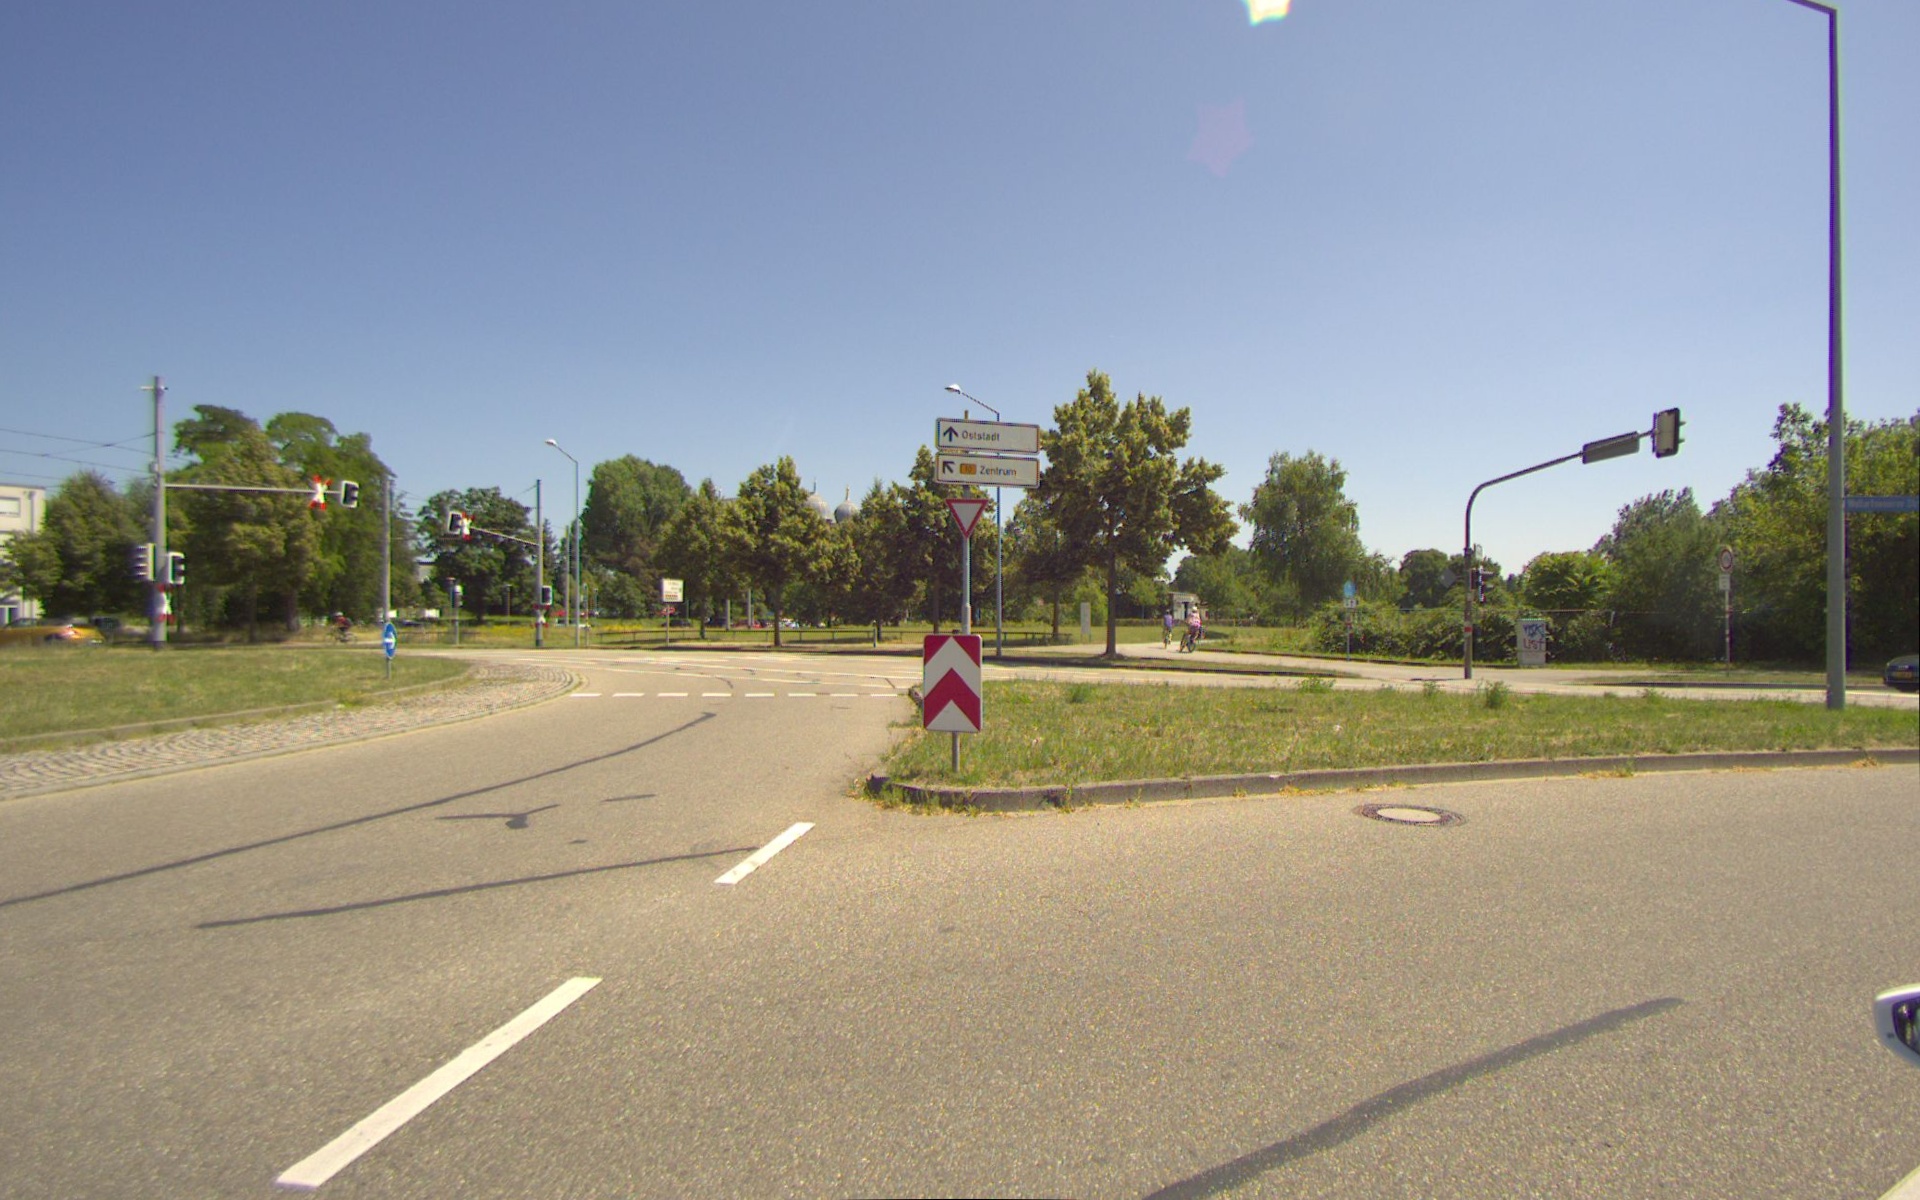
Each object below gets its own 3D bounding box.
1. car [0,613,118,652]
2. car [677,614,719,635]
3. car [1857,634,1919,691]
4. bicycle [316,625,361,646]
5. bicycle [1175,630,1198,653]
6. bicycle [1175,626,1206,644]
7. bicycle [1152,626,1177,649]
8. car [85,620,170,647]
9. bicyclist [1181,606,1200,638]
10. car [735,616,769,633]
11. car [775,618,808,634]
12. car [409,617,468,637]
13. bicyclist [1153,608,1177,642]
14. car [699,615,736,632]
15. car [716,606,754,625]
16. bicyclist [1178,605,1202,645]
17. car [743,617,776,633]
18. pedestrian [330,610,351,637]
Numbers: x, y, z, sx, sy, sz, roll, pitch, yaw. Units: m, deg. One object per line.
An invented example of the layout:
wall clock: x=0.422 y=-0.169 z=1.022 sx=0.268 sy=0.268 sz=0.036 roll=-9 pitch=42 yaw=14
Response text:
car: x=-35.387 y=1.253 z=39.068 sx=3.594 sy=1.421 sz=1.829 roll=1 pitch=-1 yaw=-8
car: x=-26.993 y=2.549 z=103.557 sx=3.923 sy=2.040 sz=1.999 roll=1 pitch=-2 yaw=-4
car: x=24.163 y=1.471 z=23.731 sx=4.321 sy=1.287 sz=1.864 roll=0 pitch=-1 yaw=-1
bicycle: x=-35.226 y=2.016 z=56.925 sx=2.027 sy=1.129 sz=0.727 roll=1 pitch=-2 yaw=-19
bicycle: x=9.463 y=1.707 z=41.920 sx=0.880 sy=0.912 sz=2.228 roll=1 pitch=-2 yaw=13
bicycle: x=11.786 y=1.800 z=51.301 sx=0.728 sy=0.924 sz=2.924 roll=-1 pitch=-3 yaw=30
bicycle: x=9.346 y=1.700 z=45.822 sx=0.881 sy=0.912 sz=1.762 roll=1 pitch=1 yaw=18
car: x=-55.729 y=2.244 z=67.294 sx=1.967 sy=1.706 sz=3.988 roll=-1 pitch=-3 yaw=35
bicyclist: x=11.776 y=1.125 z=51.290 sx=0.742 sy=1.635 sz=0.977 roll=0 pitch=-2 yaw=28
car: x=-25.824 y=3.068 z=124.723 sx=3.923 sy=2.040 sz=1.999 roll=1 pitch=-2 yaw=-4
car: x=-22.128 y=3.425 z=132.214 sx=3.920 sy=2.040 sz=2.001 roll=1 pitch=-2 yaw=3
car: x=-44.319 y=2.280 z=85.482 sx=3.926 sy=1.594 sz=1.998 roll=1 pitch=-2 yaw=-7
bicyclist: x=9.336 y=1.126 z=45.771 sx=0.941 sy=1.552 sz=1.186 roll=0 pitch=0 yaw=18
car: x=-28.877 y=2.821 z=119.751 sx=3.923 sy=2.040 sz=1.999 roll=1 pitch=-2 yaw=-4
car: x=-25.238 y=1.705 z=112.746 sx=3.923 sy=2.040 sz=1.999 roll=1 pitch=-2 yaw=-4
bicyclist: x=9.568 y=1.057 z=41.766 sx=0.940 sy=1.631 sz=1.187 roll=0 pitch=-2 yaw=13
car: x=-25.354 y=3.175 z=127.166 sx=3.923 sy=2.040 sz=1.999 roll=1 pitch=-2 yaw=-4
pedestrian: x=-35.138 y=1.343 z=56.963 sx=0.805 sy=1.469 sz=0.706 roll=1 pitch=-2 yaw=-19
